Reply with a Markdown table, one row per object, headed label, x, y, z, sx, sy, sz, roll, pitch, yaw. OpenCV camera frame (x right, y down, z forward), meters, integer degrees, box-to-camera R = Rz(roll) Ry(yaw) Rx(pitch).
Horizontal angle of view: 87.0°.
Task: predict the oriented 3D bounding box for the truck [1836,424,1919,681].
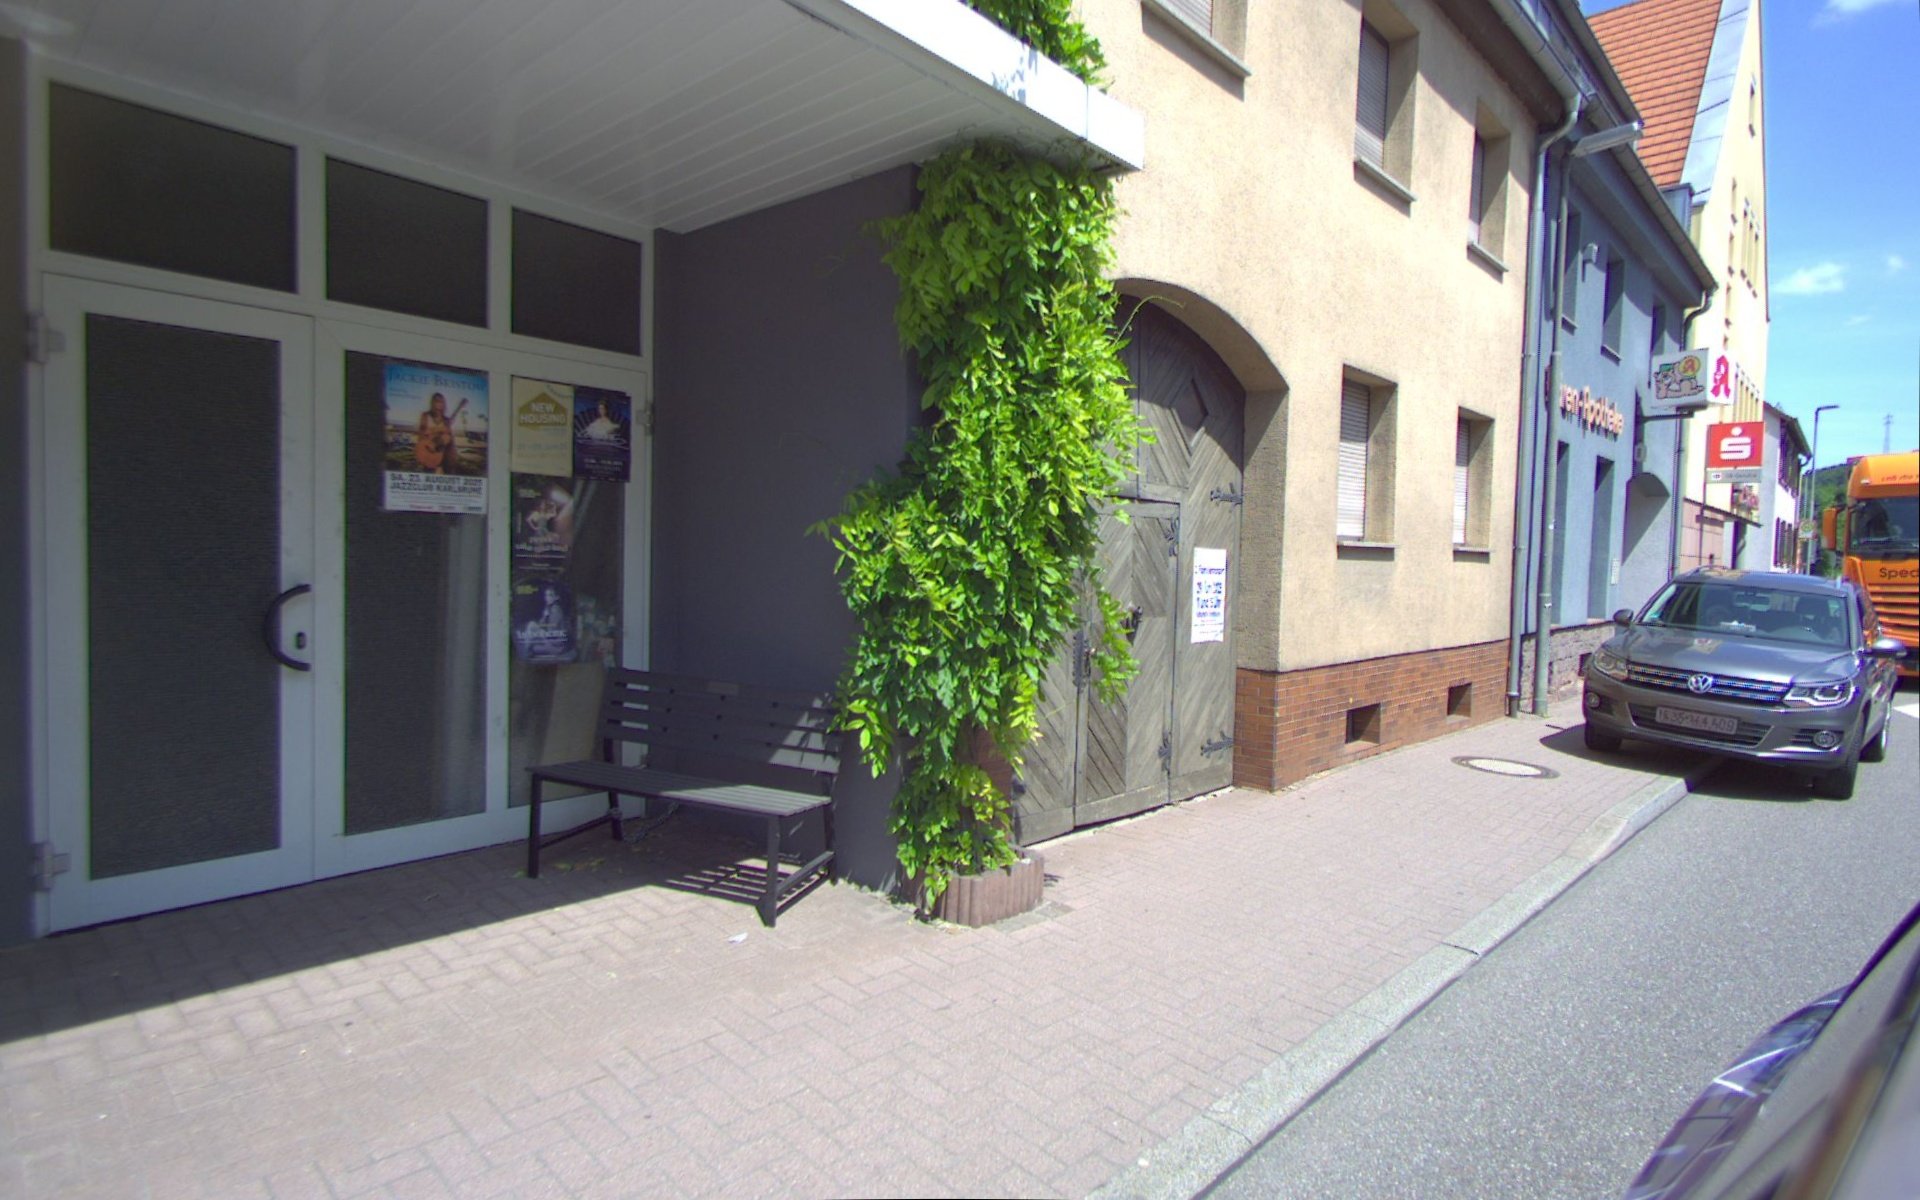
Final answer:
| label | x | y | z | sx | sy | sz | roll | pitch | yaw |
| --- | --- | --- | --- | --- | --- | --- | --- | --- | --- |
| truck | 18.625 | -0.712 | 18.856 | 9.825 | 3.995 | 2.610 | 0 | 0 | -44 |

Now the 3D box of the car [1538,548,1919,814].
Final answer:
| label | x | y | z | sx | sy | sz | roll | pitch | yaw |
| --- | --- | --- | --- | --- | --- | --- | --- | --- | --- |
| car | 6.965 | 0.496 | 8.978 | 4.032 | 1.729 | 1.997 | -1 | 5 | -43 |
